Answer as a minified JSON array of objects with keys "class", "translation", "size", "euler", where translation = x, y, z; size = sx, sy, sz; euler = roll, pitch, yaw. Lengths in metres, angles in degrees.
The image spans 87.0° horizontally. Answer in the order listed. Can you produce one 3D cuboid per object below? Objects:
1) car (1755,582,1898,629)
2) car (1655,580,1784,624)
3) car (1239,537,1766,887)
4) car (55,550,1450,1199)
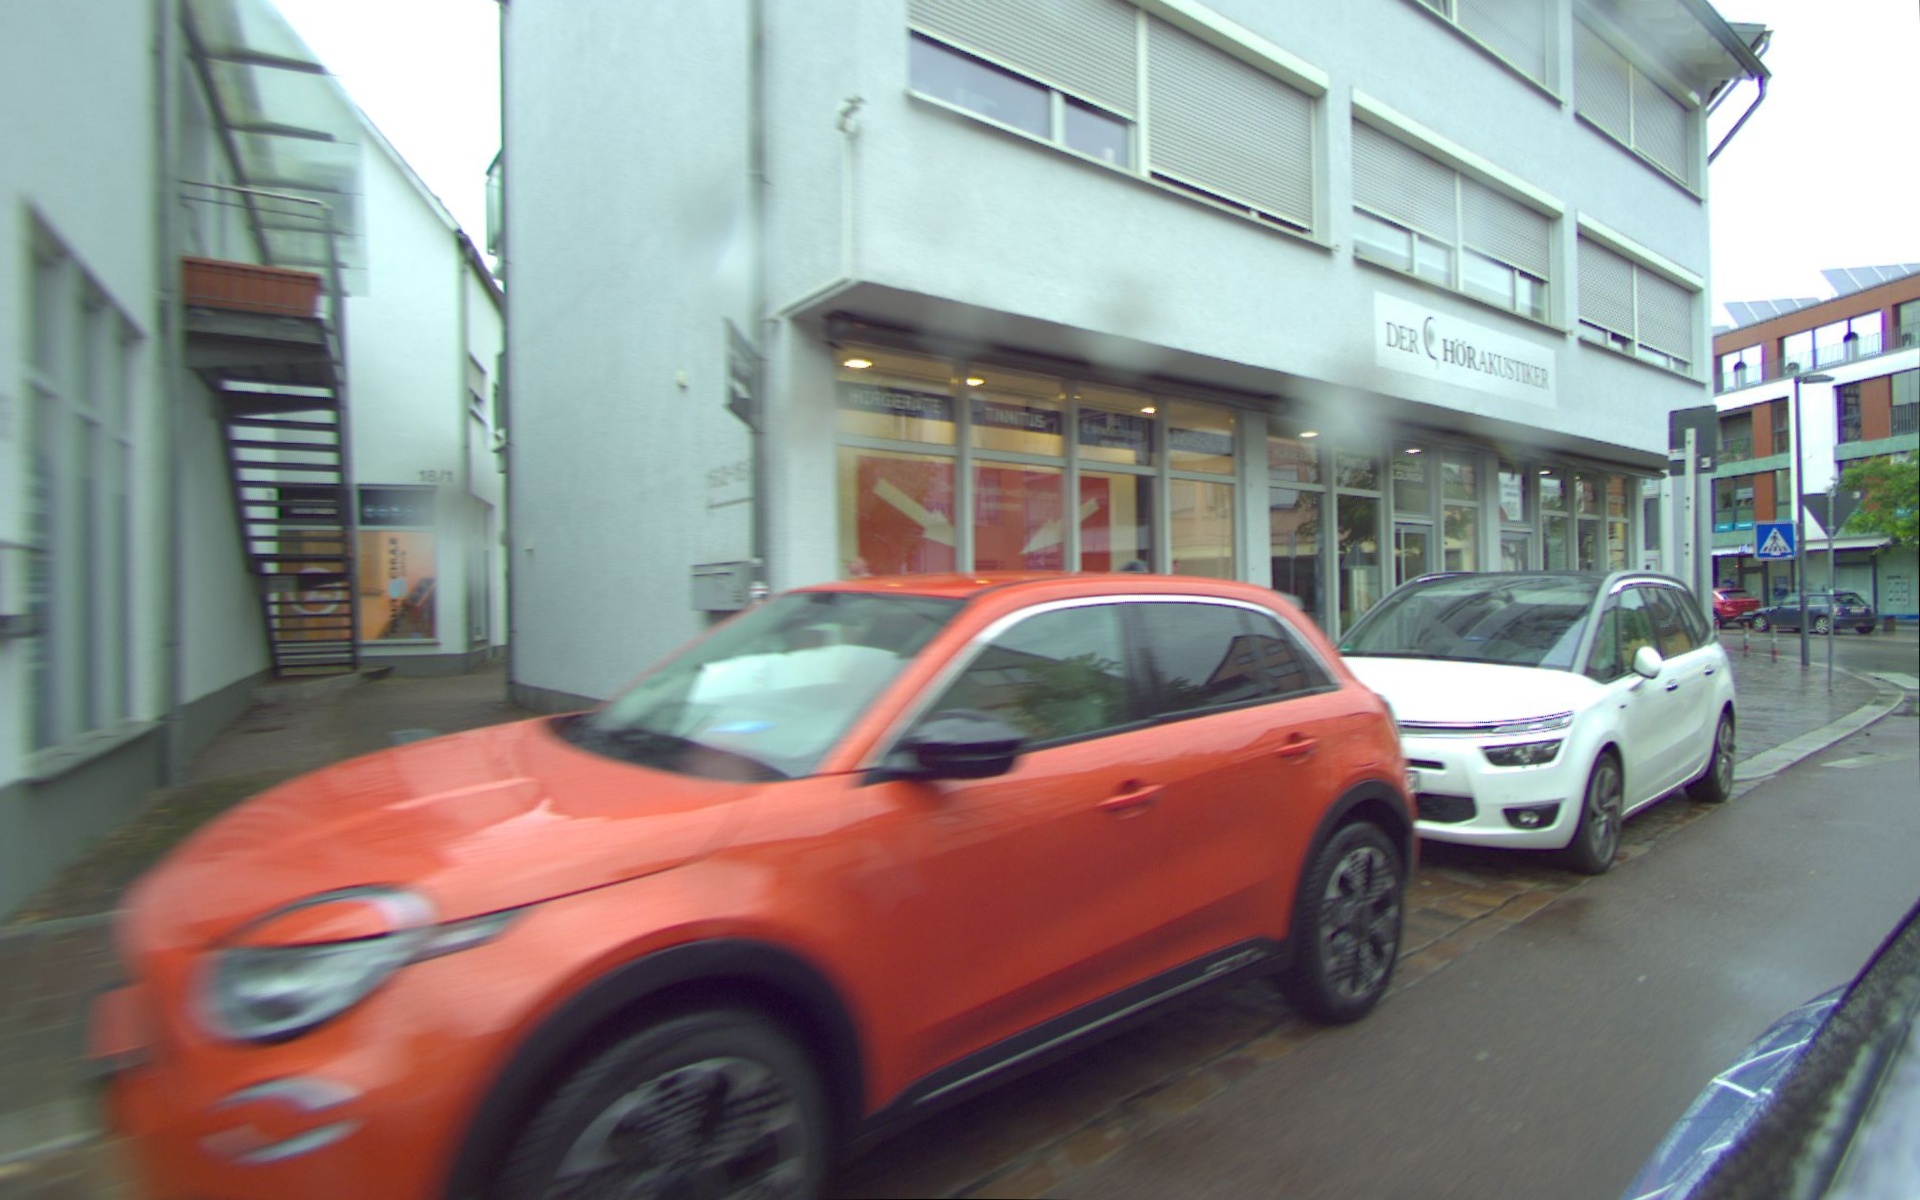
[{"class":"car","translation":[29.605,0.171,34.716],"size":[1.647,1.453,3.588],"euler":[-2,0,-3]},{"class":"car","translation":[29.586,0.065,39.564],"size":[1.767,1.574,3.926],"euler":[-2,0,-6]},{"class":"car","translation":[3.876,0.528,6.840],"size":[4.364,1.619,1.789],"euler":[0,-1,-43]},{"class":"car","translation":[-0.221,0.638,3.224],"size":[3.881,1.487,1.790],"euler":[-3,0,-41]}]
